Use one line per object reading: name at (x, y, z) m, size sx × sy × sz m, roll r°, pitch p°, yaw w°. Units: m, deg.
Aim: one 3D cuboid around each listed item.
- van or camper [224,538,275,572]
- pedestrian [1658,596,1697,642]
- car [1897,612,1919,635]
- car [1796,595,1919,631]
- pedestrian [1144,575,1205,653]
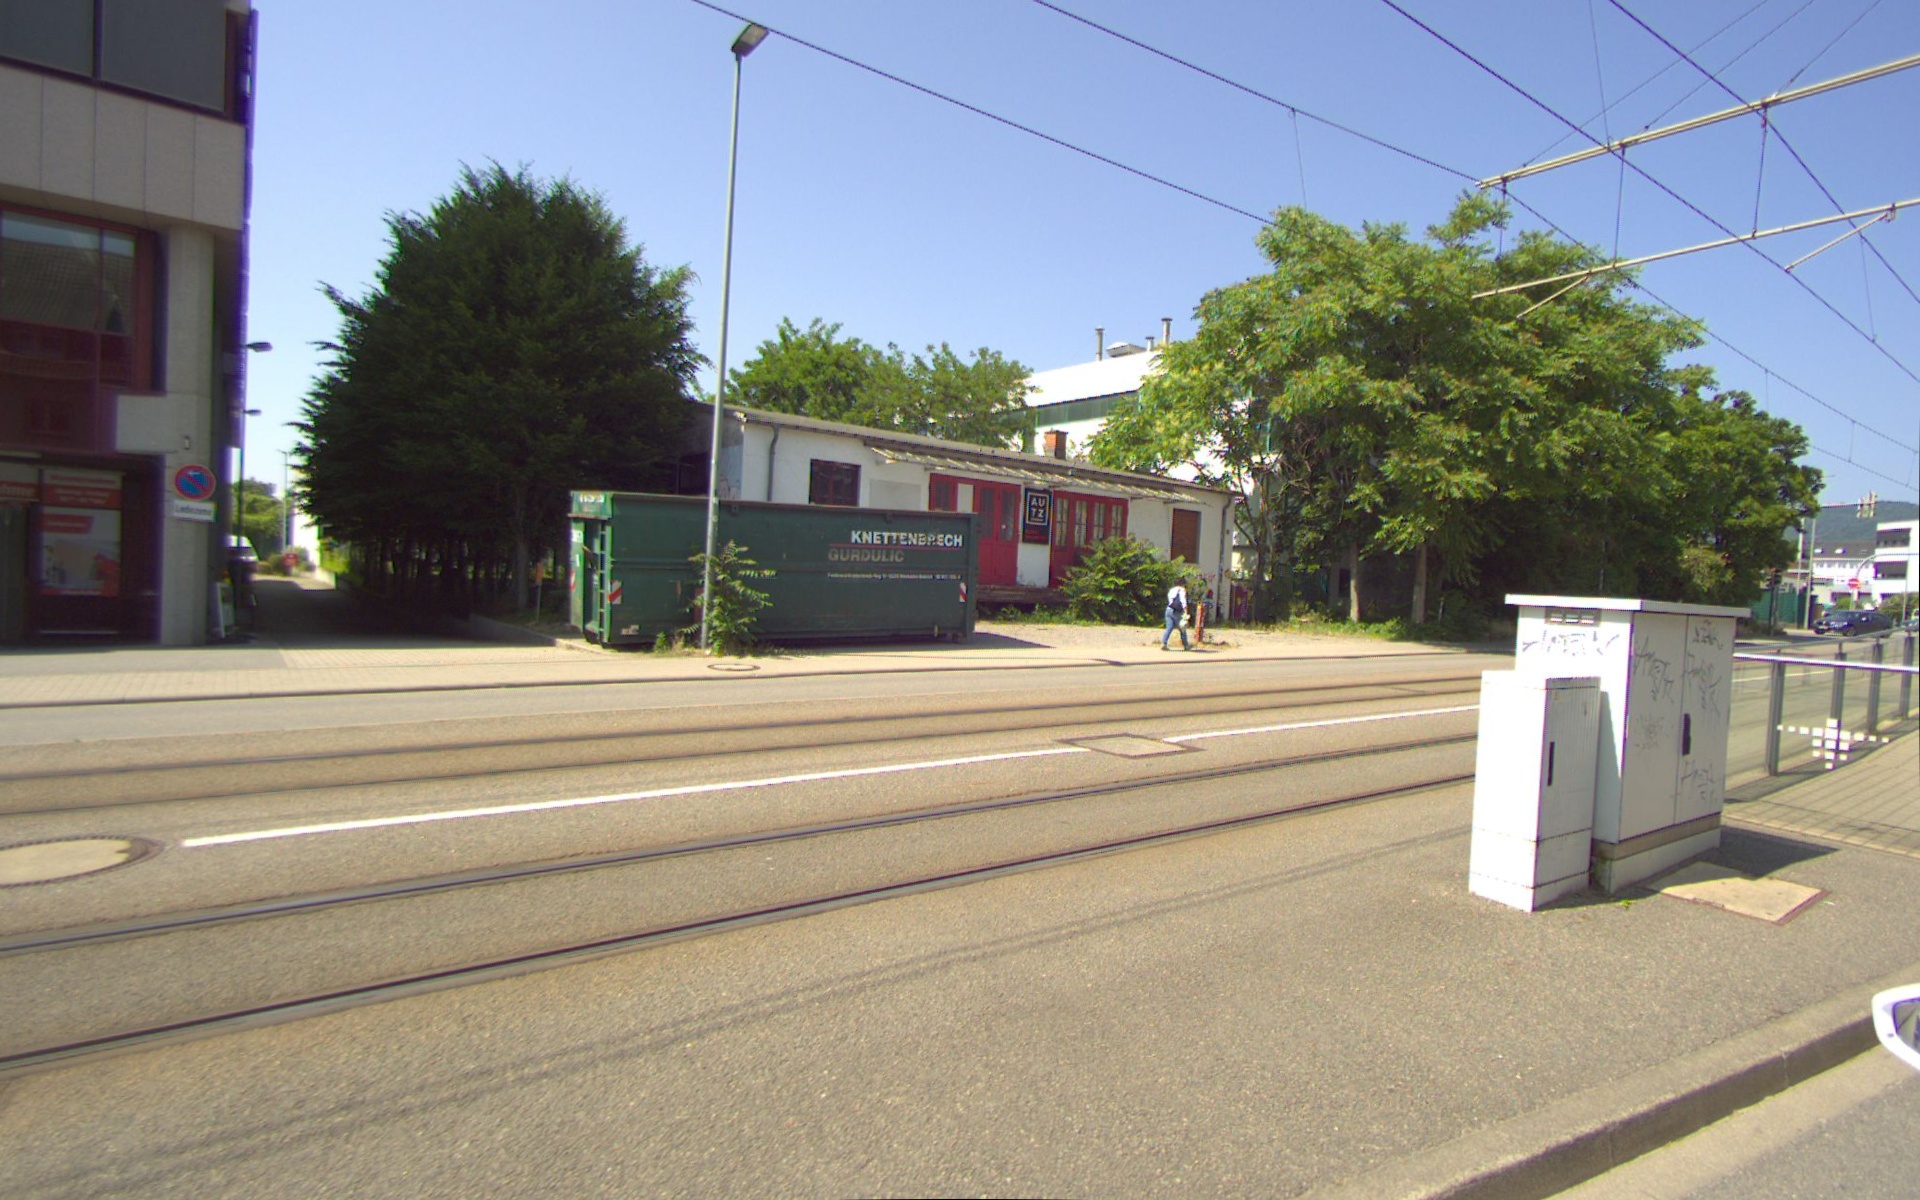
van or camper at (-53.671, -3.405, 75.858) m, size 4.189 × 2.442 × 1.992 m, roll 2°, pitch 1°, yaw 37°
pedestrian at (27.721, 0.728, 38.816) m, size 1.150 × 1.693 × 0.879 m, roll 1°, pitch 1°, yaw -38°
car at (74.937, 1.832, 76.539) m, size 4.811 × 1.687 × 1.956 m, roll 2°, pitch 1°, yaw 13°
car at (50.893, 0.719, 57.013) m, size 4.811 × 1.862 × 2.102 m, roll 2°, pitch 1°, yaw 8°
pedestrian at (4.505, 0.274, 21.097) m, size 0.838 × 1.548 × 0.864 m, roll -2°, pitch 7°, yaw -38°
